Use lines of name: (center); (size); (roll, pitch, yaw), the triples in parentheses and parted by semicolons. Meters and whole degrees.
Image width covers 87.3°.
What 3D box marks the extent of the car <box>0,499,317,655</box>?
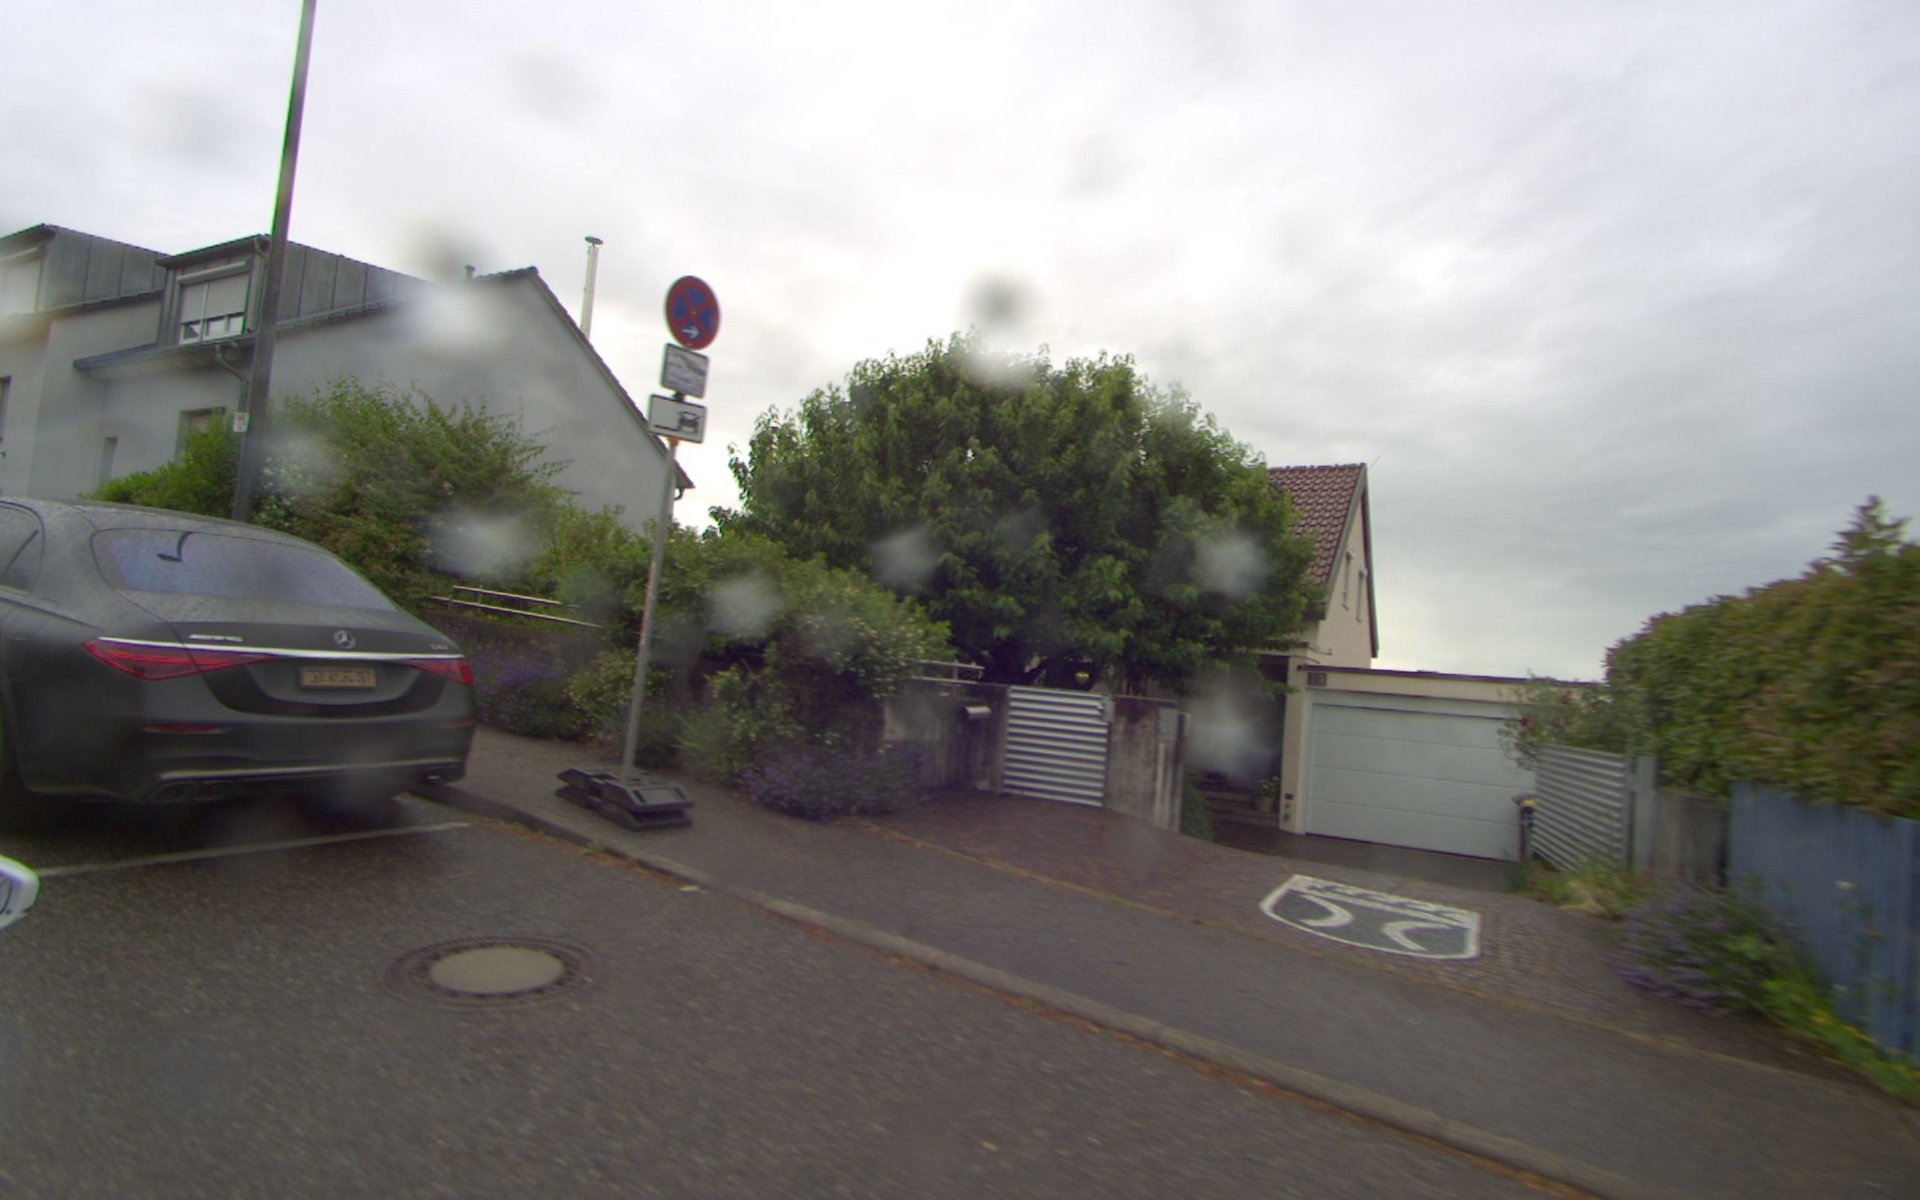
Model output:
car: (-12.769, -0.292, 15.693); (1.965, 1.453, 4.013); (7, -9, 27)

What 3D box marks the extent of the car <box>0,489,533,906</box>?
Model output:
car: (-4.989, 0.208, 5.877); (4.977, 1.546, 1.860); (7, 0, 30)
